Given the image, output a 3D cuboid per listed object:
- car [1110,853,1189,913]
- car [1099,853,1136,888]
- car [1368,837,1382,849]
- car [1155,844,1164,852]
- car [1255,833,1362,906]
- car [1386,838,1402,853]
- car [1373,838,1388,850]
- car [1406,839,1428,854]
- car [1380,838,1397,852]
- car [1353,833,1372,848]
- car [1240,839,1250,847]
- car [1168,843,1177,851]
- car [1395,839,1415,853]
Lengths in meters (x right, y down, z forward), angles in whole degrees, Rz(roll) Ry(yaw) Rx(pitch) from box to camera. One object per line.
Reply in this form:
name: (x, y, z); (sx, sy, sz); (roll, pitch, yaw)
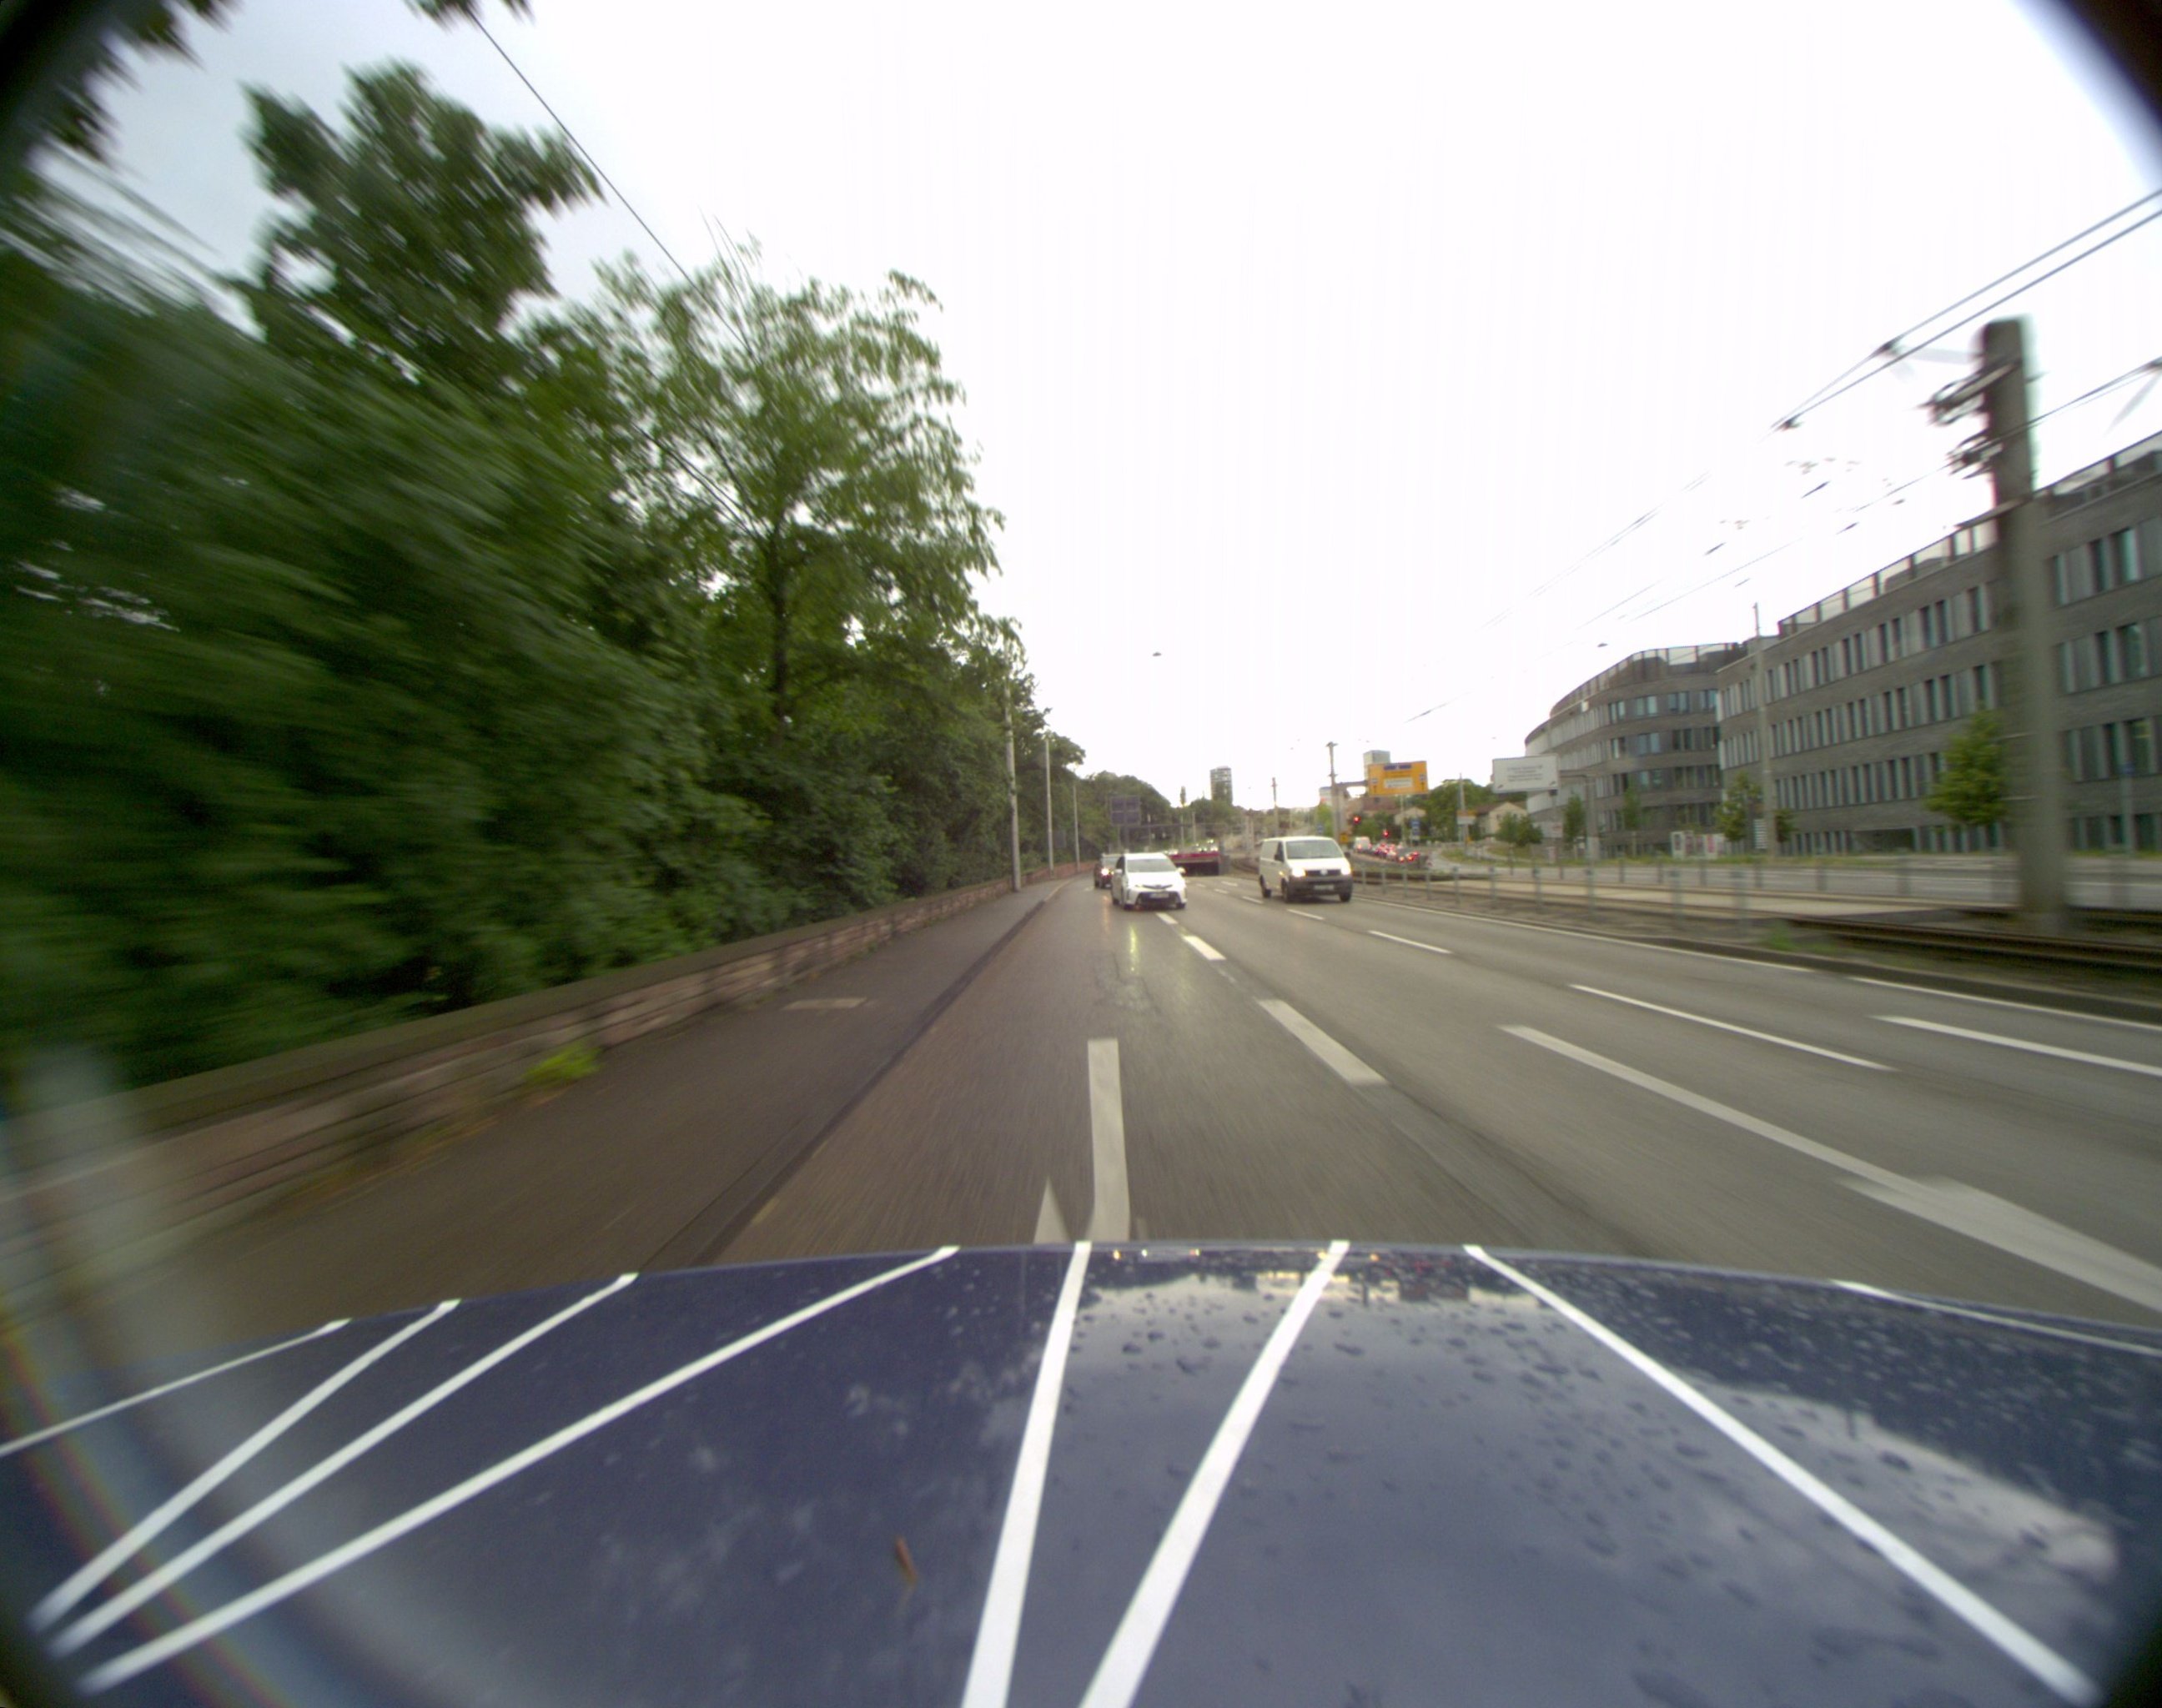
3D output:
car: (1.940, 0.784, 22.715); (1.981, 1.564, 4.319); (-2, 0, 1)
car: (1.731, 0.746, 36.802); (1.662, 1.534, 3.709); (-2, 0, 1)
car: (48.493, -1.817, 125.353); (1.668, 1.893, 4.004); (-2, 1, 14)
car: (20.963, -1.684, 203.416); (1.998, 2.002, 4.000); (-2, 1, 1)
car: (6.870, 0.413, 23.487); (1.914, 1.947, 4.718); (-2, 0, 2)
car: (43.384, -1.190, 105.252); (1.668, 1.893, 4.004); (-2, 1, 17)
car: (46.540, -1.542, 117.999); (1.668, 1.808, 4.004); (-2, 1, 16)
car: (41.975, -0.973, 94.997); (1.834, 1.787, 4.220); (-1, 0, 15)
car: (45.121, -1.343, 111.605); (1.668, 1.893, 4.003); (-2, 1, 14)
car: (49.067, -2.339, 132.492); (2.335, 2.453, 7.032); (-2, 1, 14)
car: (40.380, -2.711, 187.138); (1.997, 1.936, 4.002); (-2, 1, 10)
car: (24.073, -1.797, 199.964); (1.998, 2.002, 4.000); (-2, 1, 1)
car: (42.767, -1.063, 100.252); (1.834, 1.787, 4.220); (-1, 0, 15)
